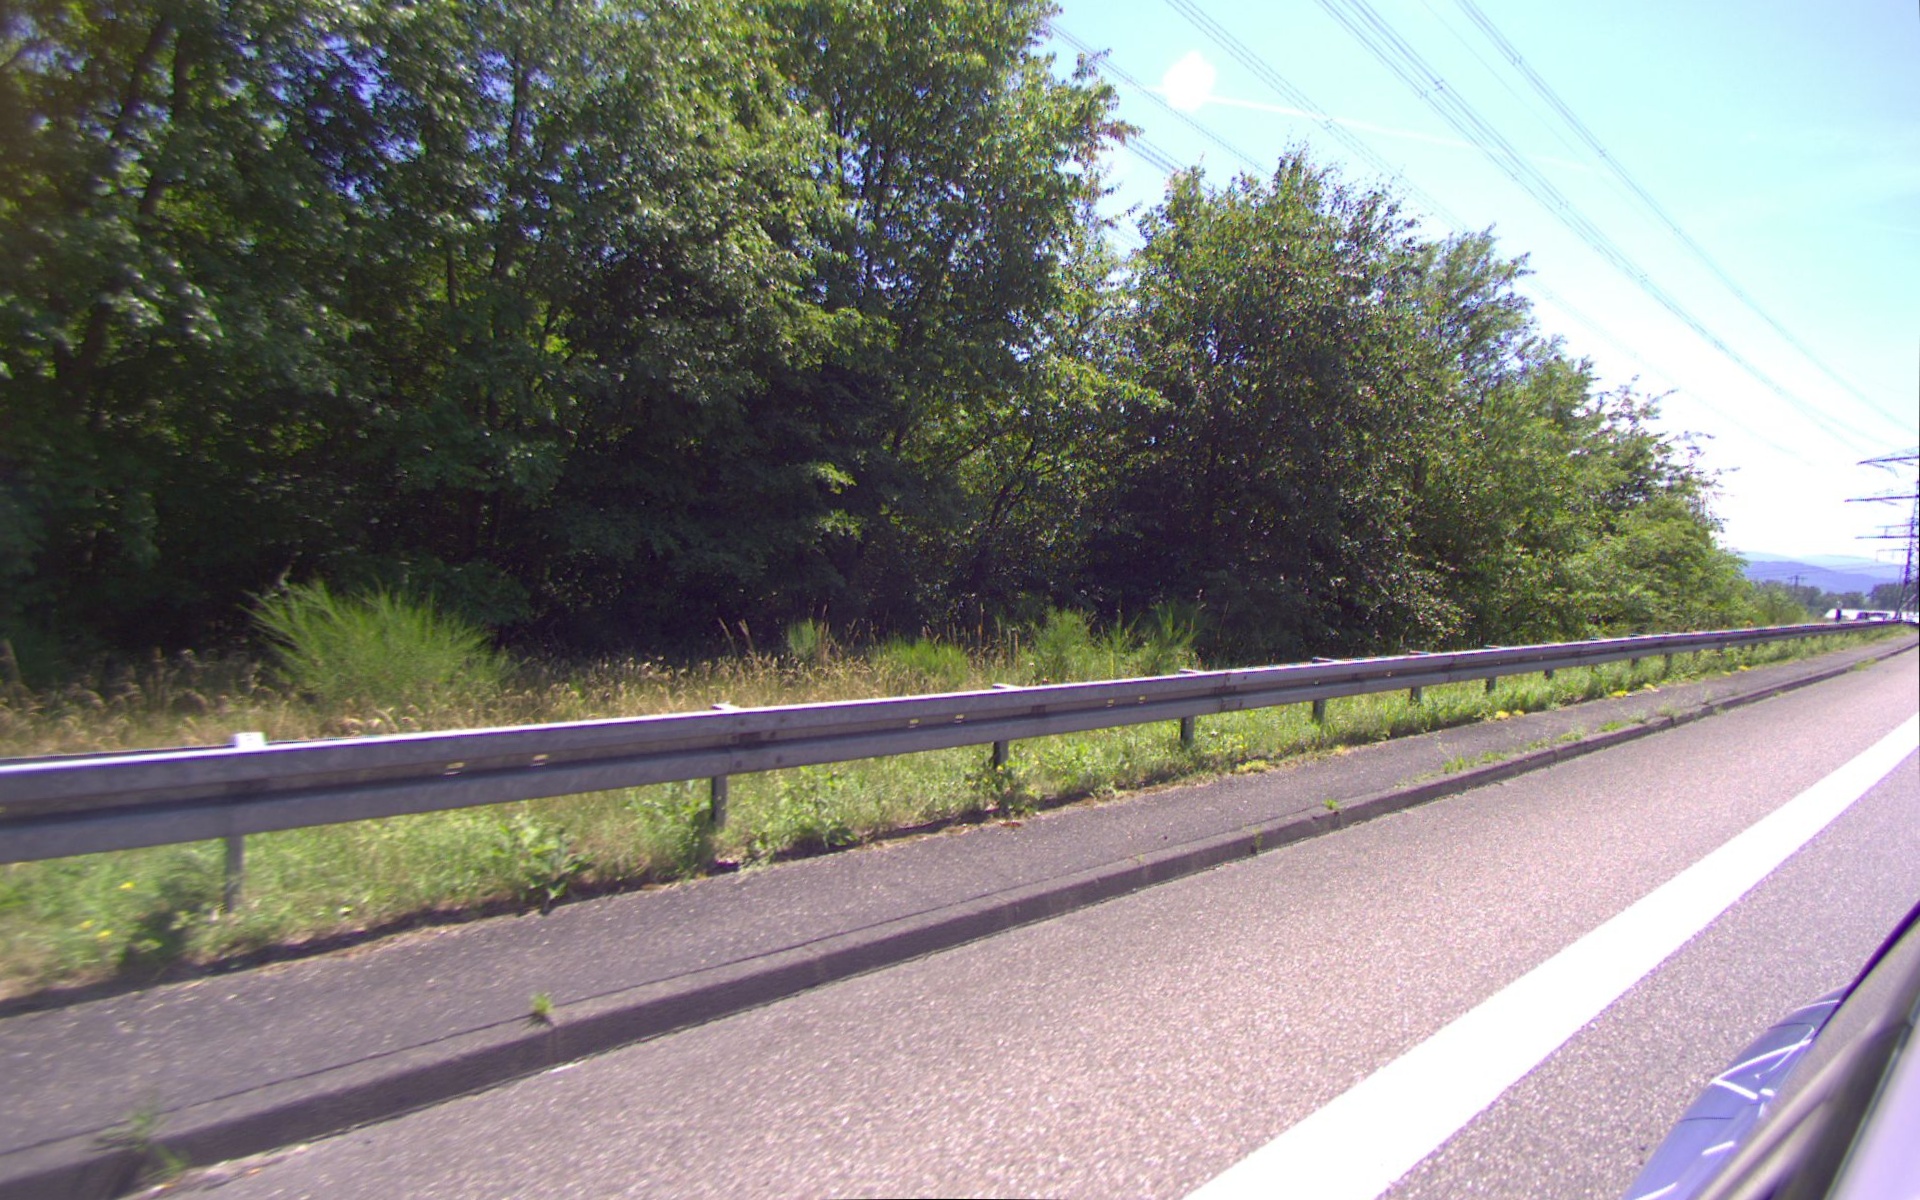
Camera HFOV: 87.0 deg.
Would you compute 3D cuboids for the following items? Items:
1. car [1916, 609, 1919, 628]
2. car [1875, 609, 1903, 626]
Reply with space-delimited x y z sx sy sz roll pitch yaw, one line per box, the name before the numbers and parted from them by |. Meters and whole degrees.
car | 88.115 1.727 91.729 1.992 1.705 3.939 1 0 41
car | 96.309 1.835 104.920 1.992 1.705 3.939 1 0 41
